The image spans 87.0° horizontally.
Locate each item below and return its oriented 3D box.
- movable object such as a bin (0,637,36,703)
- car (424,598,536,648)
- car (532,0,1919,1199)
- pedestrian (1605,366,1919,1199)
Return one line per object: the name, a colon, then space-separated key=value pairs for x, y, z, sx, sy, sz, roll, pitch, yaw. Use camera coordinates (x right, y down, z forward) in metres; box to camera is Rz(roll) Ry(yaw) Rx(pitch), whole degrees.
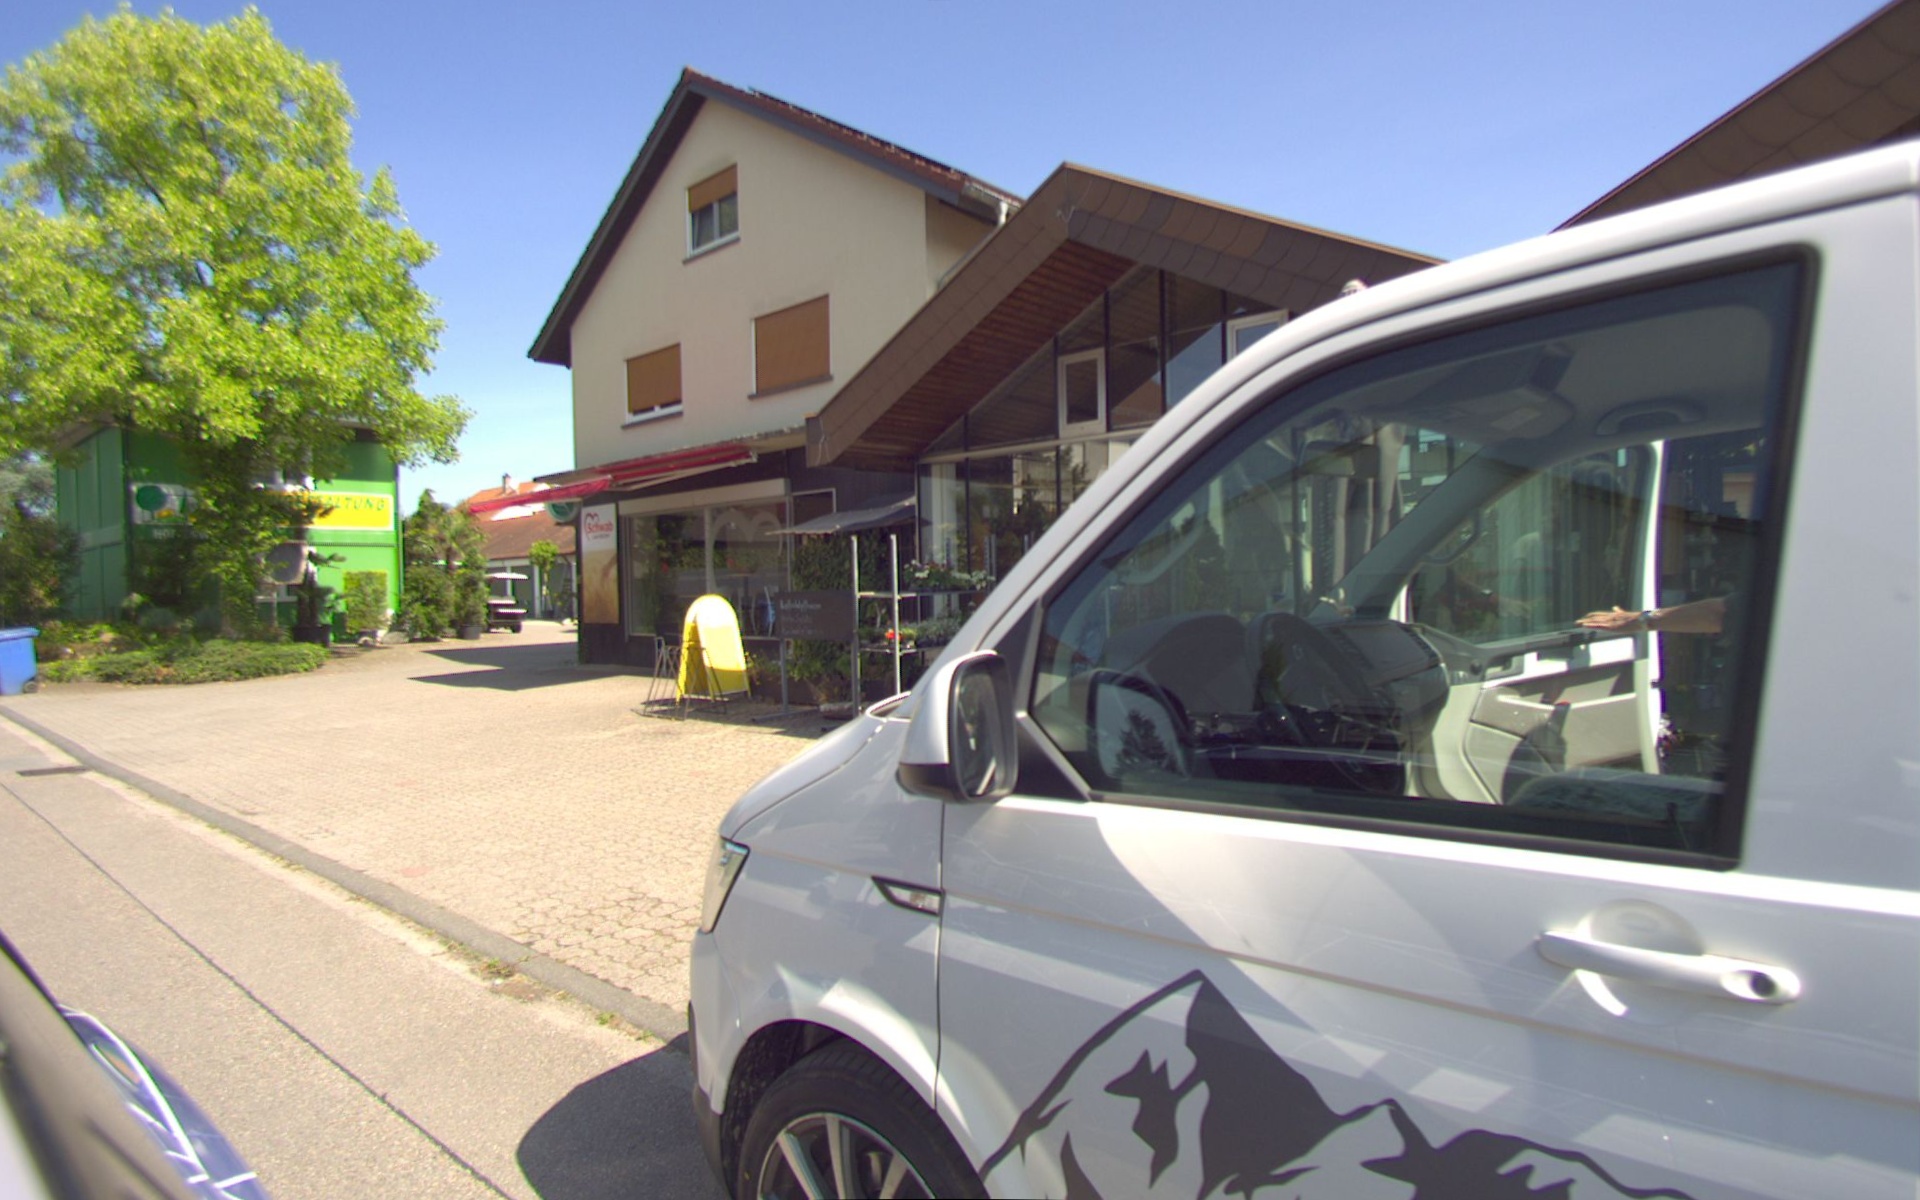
movable object such as a bin: x=-16.161 y=1.181 z=17.079 sx=0.612 sy=1.062 sz=0.723 roll=-1 pitch=2 yaw=41
car: x=-15.789 y=0.703 z=33.228 sx=3.998 sy=1.458 sz=1.838 roll=0 pitch=3 yaw=41
car: x=1.534 y=0.333 z=1.252 sx=4.895 sy=2.029 sz=1.908 roll=-1 pitch=1 yaw=43
pedestrian: x=2.035 y=0.424 z=2.284 sx=0.680 sy=1.744 sz=0.644 roll=-2 pitch=0 yaw=-19
